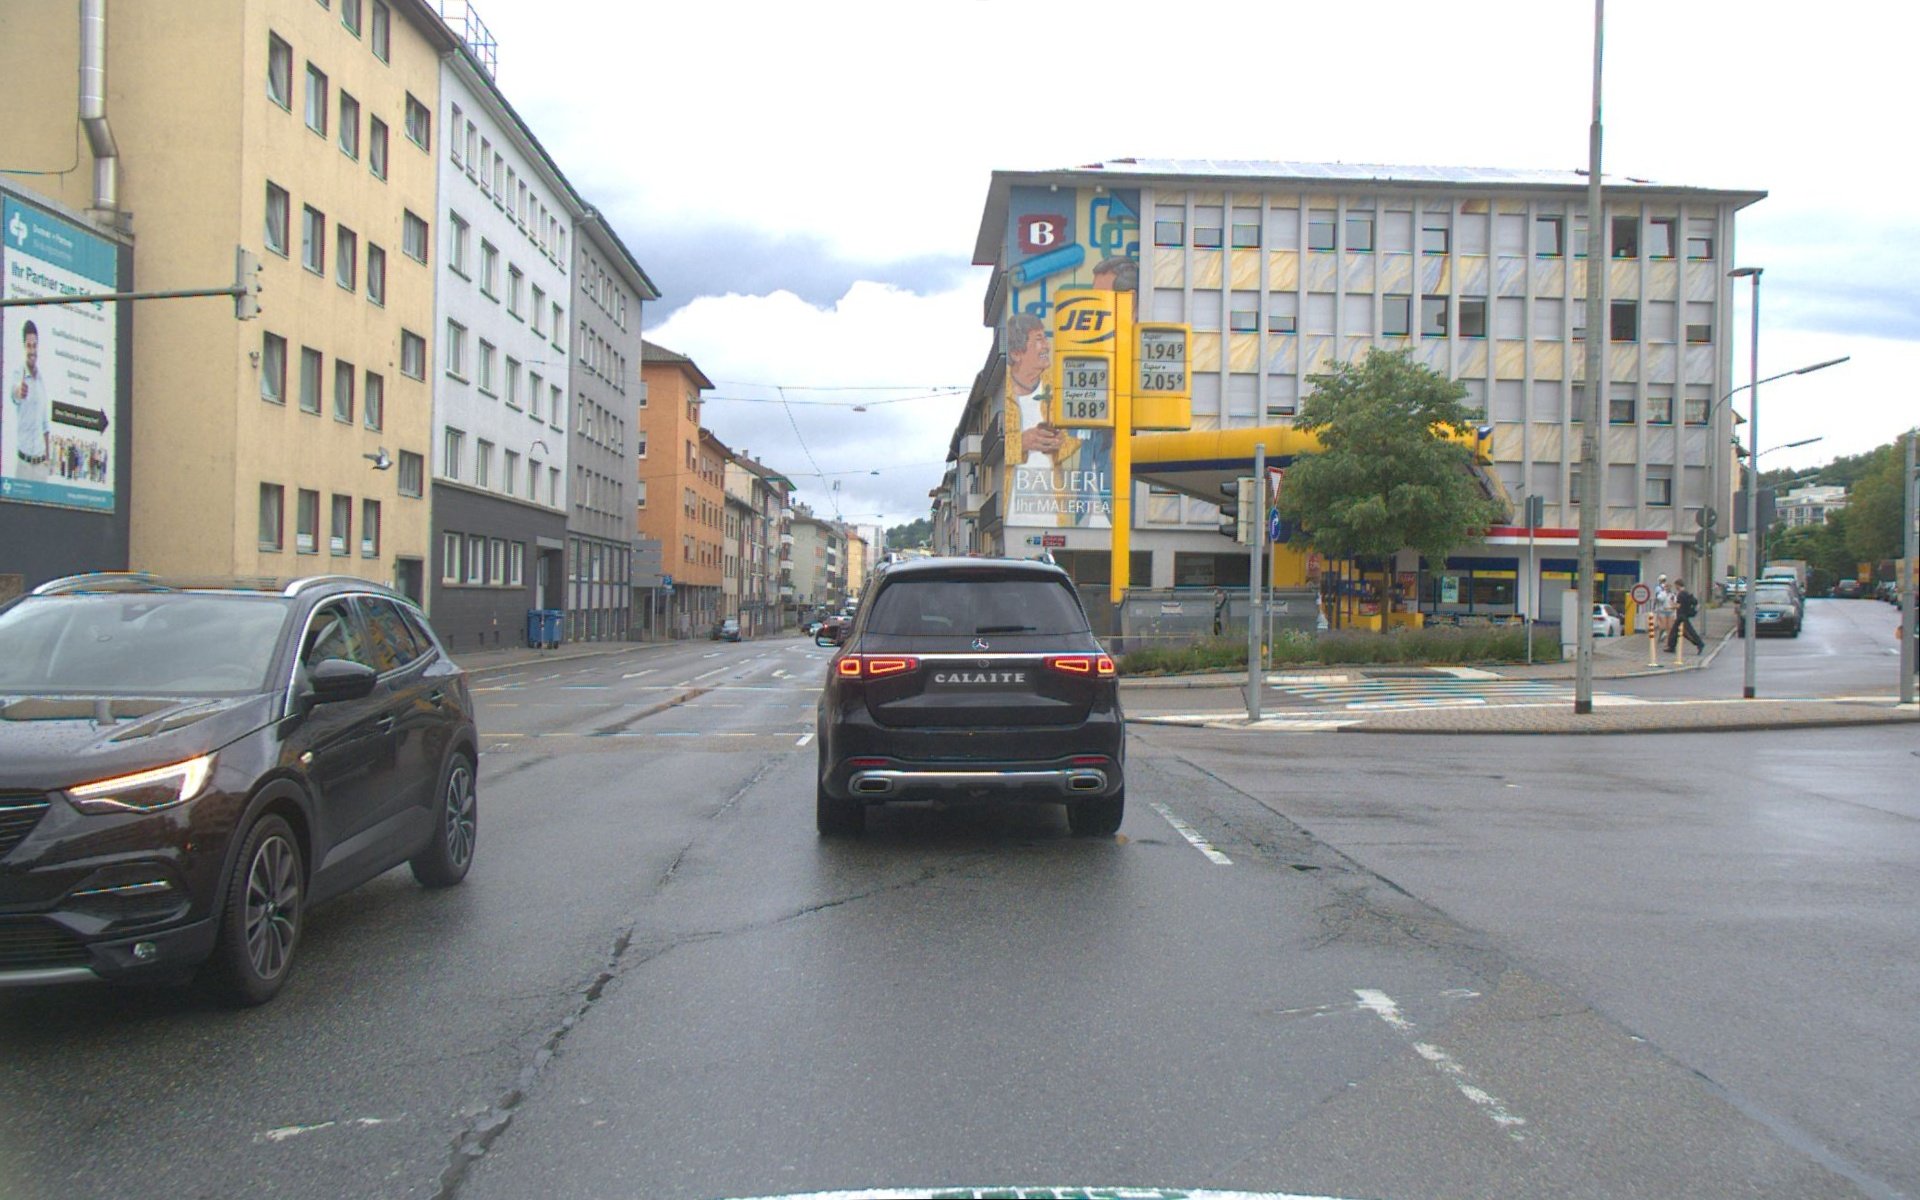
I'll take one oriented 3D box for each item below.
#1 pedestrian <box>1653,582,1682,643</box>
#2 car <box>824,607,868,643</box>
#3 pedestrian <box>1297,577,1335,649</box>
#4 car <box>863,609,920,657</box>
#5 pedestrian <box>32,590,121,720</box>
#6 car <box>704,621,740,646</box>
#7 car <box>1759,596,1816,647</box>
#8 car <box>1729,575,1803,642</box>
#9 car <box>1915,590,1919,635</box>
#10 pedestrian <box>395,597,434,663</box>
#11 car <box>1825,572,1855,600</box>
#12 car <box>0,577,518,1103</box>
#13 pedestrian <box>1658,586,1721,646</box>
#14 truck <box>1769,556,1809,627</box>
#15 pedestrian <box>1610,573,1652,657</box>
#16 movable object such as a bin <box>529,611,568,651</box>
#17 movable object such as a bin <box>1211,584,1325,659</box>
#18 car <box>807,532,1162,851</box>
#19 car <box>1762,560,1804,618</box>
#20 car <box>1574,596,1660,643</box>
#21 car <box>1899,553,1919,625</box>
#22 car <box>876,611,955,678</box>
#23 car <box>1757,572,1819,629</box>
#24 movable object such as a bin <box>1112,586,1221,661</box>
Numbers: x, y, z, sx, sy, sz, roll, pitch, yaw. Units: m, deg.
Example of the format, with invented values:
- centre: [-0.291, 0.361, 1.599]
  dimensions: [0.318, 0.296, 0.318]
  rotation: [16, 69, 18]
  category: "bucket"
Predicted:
- centre: [18.186, 0.329, 42.515]
  dimensions: [0.570, 1.541, 0.472]
  rotation: [3, -1, -43]
  category: "pedestrian"
- centre: [-5.743, 1.234, 83.641]
  dimensions: [2.035, 1.678, 4.292]
  rotation: [2, -1, -3]
  category: "car"
- centre: [8.160, 0.302, 37.947]
  dimensions: [0.651, 1.613, 0.847]
  rotation: [2, -1, 0]
  category: "pedestrian"
- centre: [-2.632, 1.236, 63.477]
  dimensions: [2.035, 1.678, 4.292]
  rotation: [2, -1, -3]
  category: "car"
- centre: [-12.160, 0.747, 22.784]
  dimensions: [0.702, 1.719, 0.811]
  rotation: [2, -1, -1]
  category: "pedestrian"
- centre: [-15.109, 2.113, 105.220]
  dimensions: [1.854, 1.484, 4.545]
  rotation: [3, -1, -4]
  category: "car"
- centre: [33.614, 0.893, 67.283]
  dimensions: [1.955, 1.897, 4.575]
  rotation: [2, -1, 26]
  category: "car"
- centre: [25.158, 0.293, 51.658]
  dimensions: [1.955, 1.897, 4.575]
  rotation: [2, -1, 26]
  category: "car"
- centre: [46.338, 0.647, 78.074]
  dimensions: [1.956, 2.049, 3.994]
  rotation: [2, -1, 28]
  category: "car"
- centre: [-14.591, 0.799, 44.242]
  dimensions: [0.702, 1.719, 0.811]
  rotation: [2, -1, -1]
  category: "pedestrian"
- centre: [68.750, -1.081, 129.218]
  dimensions: [1.956, 2.049, 3.994]
  rotation: [2, -1, 28]
  category: "car"
- centre: [-3.369, 0.751, 7.254]
  dimensions: [1.771, 1.622, 4.293]
  rotation: [1, -1, -1]
  category: "car"
- centre: [17.618, 0.389, 39.961]
  dimensions: [0.910, 1.376, 1.096]
  rotation: [3, -1, -43]
  category: "pedestrian"
- centre: [49.480, -0.480, 98.805]
  dimensions: [1.955, 3.982, 5.479]
  rotation: [2, -1, 26]
  category: "truck"
- centre: [21.555, 0.481, 53.146]
  dimensions: [0.984, 2.612, 1.149]
  rotation: [2, -1, 12]
  category: "pedestrian"
- centre: [-14.624, 1.094, 58.821]
  dimensions: [1.055, 1.347, 1.190]
  rotation: [2, -1, -2]
  category: "movable object such as a bin"
- centre: [6.747, 0.469, 36.354]
  dimensions: [2.112, 1.583, 1.772]
  rotation: [-1, -1, -2]
  category: "movable object such as a bin"
- centre: [0.052, 0.559, 12.066]
  dimensions: [2.035, 1.796, 4.608]
  rotation: [2, -1, -3]
  category: "car"
- centre: [45.928, -0.573, 92.371]
  dimensions: [1.955, 3.025, 4.575]
  rotation: [2, -1, 26]
  category: "car"
- centre: [23.588, 0.732, 59.323]
  dimensions: [1.959, 1.543, 4.403]
  rotation: [-1, -3, 34]
  category: "car"
- centre: [52.960, -0.538, 90.559]
  dimensions: [2.330, 3.752, 4.987]
  rotation: [2, -1, 27]
  category: "car"
- centre: [-1.264, 1.197, 45.876]
  dimensions: [2.035, 1.678, 4.292]
  rotation: [2, -1, -3]
  category: "car"
- centre: [30.854, 0.047, 61.748]
  dimensions: [1.955, 1.897, 4.575]
  rotation: [2, -1, 26]
  category: "car"
- centre: [4.502, 0.520, 36.262]
  dimensions: [2.112, 1.602, 1.772]
  rotation: [0, -1, -2]
  category: "movable object such as a bin"
